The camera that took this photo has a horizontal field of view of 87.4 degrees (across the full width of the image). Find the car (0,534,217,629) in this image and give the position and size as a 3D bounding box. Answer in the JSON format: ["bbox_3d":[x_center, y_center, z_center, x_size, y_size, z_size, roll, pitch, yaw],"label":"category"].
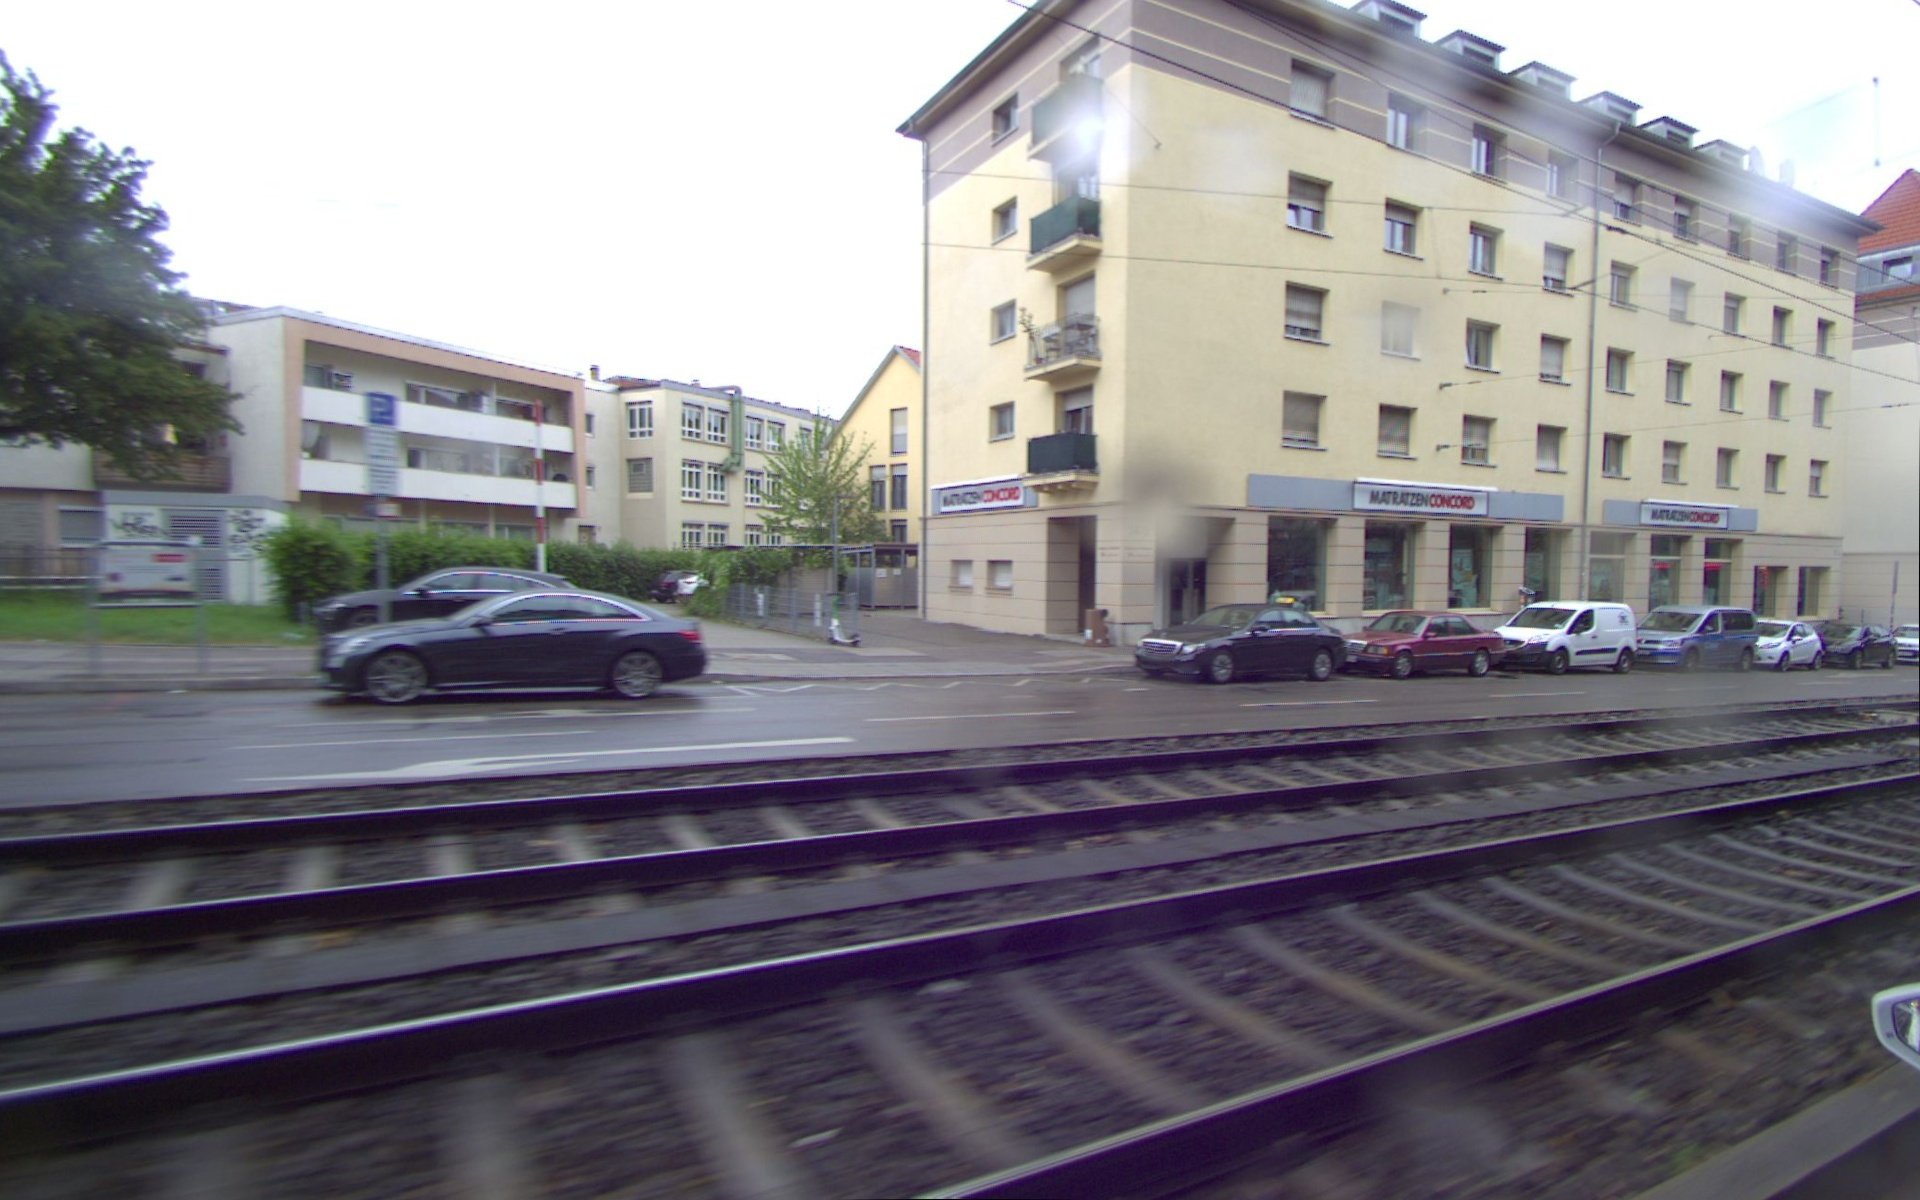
[{"bbox_3d":[-17.993,-0.407,20.760,3.950,1.846,1.679,-2,2,-29],"label":"car"}]

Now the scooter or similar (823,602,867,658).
[{"bbox_3d":[-2.551,0.649,22.198,0.375,1.128,1.282,-1,4,-35],"label":"scooter or similar"}]

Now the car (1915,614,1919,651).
[{"bbox_3d":[39.382,1.326,39.516,3.501,1.469,1.699,0,4,-32],"label":"car"}]

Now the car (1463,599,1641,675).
[{"bbox_3d":[15.037,0.888,25.487,4.404,1.740,1.859,0,2,-28],"label":"car"}]

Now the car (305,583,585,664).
[{"bbox_3d":[-9.367,0.366,18.694,4.413,1.321,1.866,-1,2,-23],"label":"car"}]

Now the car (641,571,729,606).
[{"bbox_3d":[-12.357,-0.557,45.337,1.642,1.419,3.897,2,3,27],"label":"car"}]

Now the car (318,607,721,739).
[{"bbox_3d":[-5.598,0.826,13.067,4.569,1.415,1.671,0,2,-31],"label":"car"}]

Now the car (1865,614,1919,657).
[{"bbox_3d":[35.371,1.289,37.165,3.890,1.415,1.695,0,2,-31],"label":"car"}]

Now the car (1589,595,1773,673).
[{"bbox_3d":[20.413,0.900,28.392,5.391,1.931,1.985,0,3,-28],"label":"car"}]

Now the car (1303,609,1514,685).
[{"bbox_3d":[10.140,0.979,22.640,4.773,1.452,1.843,0,3,-29],"label":"car"}]

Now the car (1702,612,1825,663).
[{"bbox_3d":[24.710,1.127,30.870,4.003,1.458,1.683,0,-2,-32],"label":"car"}]

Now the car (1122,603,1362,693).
[{"bbox_3d":[5.648,0.844,19.822,4.941,1.528,1.839,0,2,-35],"label":"car"}]

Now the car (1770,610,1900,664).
[{"bbox_3d":[28.966,1.178,33.218,4.527,1.519,1.805,0,3,-30],"label":"car"}]

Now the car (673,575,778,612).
[{"bbox_3d":[-9.501,-0.294,40.704,3.856,1.419,1.660,-1,3,-30],"label":"car"}]
